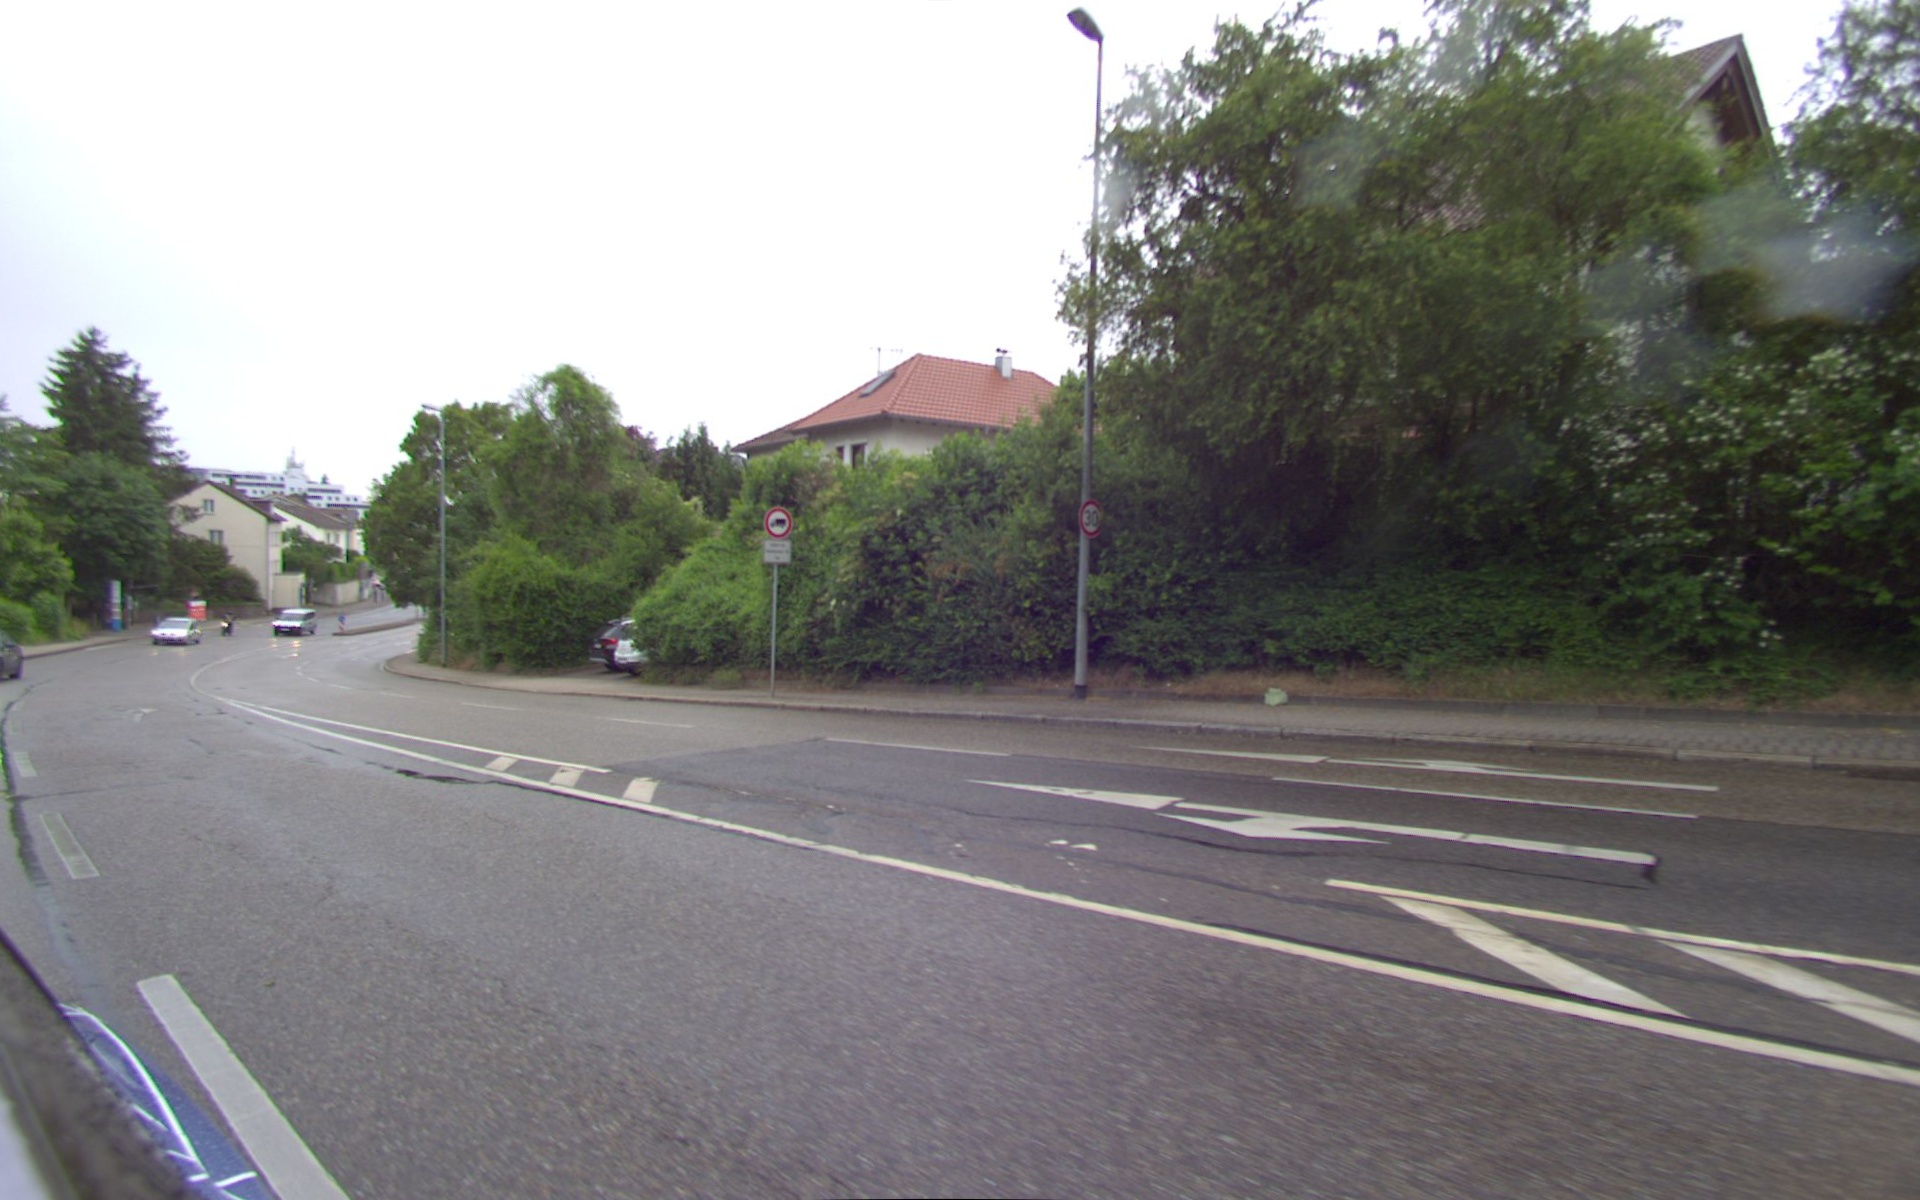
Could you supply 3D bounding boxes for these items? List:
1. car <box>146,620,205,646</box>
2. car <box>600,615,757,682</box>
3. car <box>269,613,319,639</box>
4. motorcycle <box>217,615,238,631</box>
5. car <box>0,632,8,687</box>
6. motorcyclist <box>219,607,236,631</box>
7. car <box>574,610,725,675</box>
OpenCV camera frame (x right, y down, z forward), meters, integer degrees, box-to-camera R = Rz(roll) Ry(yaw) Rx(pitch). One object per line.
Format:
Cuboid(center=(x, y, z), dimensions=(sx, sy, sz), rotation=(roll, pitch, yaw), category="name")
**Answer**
Cuboid(center=(-46.395, 1.976, 59.967), dimensions=(1.787, 1.450, 4.013), rotation=(2, -3, -24), category="car")
Cuboid(center=(-7.994, 1.331, 28.926), dimensions=(3.855, 1.451, 1.813), rotation=(-6, 2, -43), category="car")
Cuboid(center=(-48.740, 1.950, 74.148), dimensions=(1.749, 1.788, 4.010), rotation=(2, -3, -13), category="car")
Cuboid(center=(-51.392, 1.613, 71.003), dimensions=(0.681, 1.061, 1.753), rotation=(2, -2, -20), category="motorcycle")
Cuboid(center=(-28.643, 1.684, 29.050), dimensions=(1.846, 1.517, 4.201), rotation=(1, -2, -44), category="car")
Cuboid(center=(-51.379, 1.340, 70.994), dimensions=(0.754, 1.655, 0.676), rotation=(1, -2, -20), category="motorcyclist")
Cuboid(center=(-9.561, 1.265, 31.320), dimensions=(3.941, 1.548, 2.002), rotation=(-6, 2, -44), category="car")
